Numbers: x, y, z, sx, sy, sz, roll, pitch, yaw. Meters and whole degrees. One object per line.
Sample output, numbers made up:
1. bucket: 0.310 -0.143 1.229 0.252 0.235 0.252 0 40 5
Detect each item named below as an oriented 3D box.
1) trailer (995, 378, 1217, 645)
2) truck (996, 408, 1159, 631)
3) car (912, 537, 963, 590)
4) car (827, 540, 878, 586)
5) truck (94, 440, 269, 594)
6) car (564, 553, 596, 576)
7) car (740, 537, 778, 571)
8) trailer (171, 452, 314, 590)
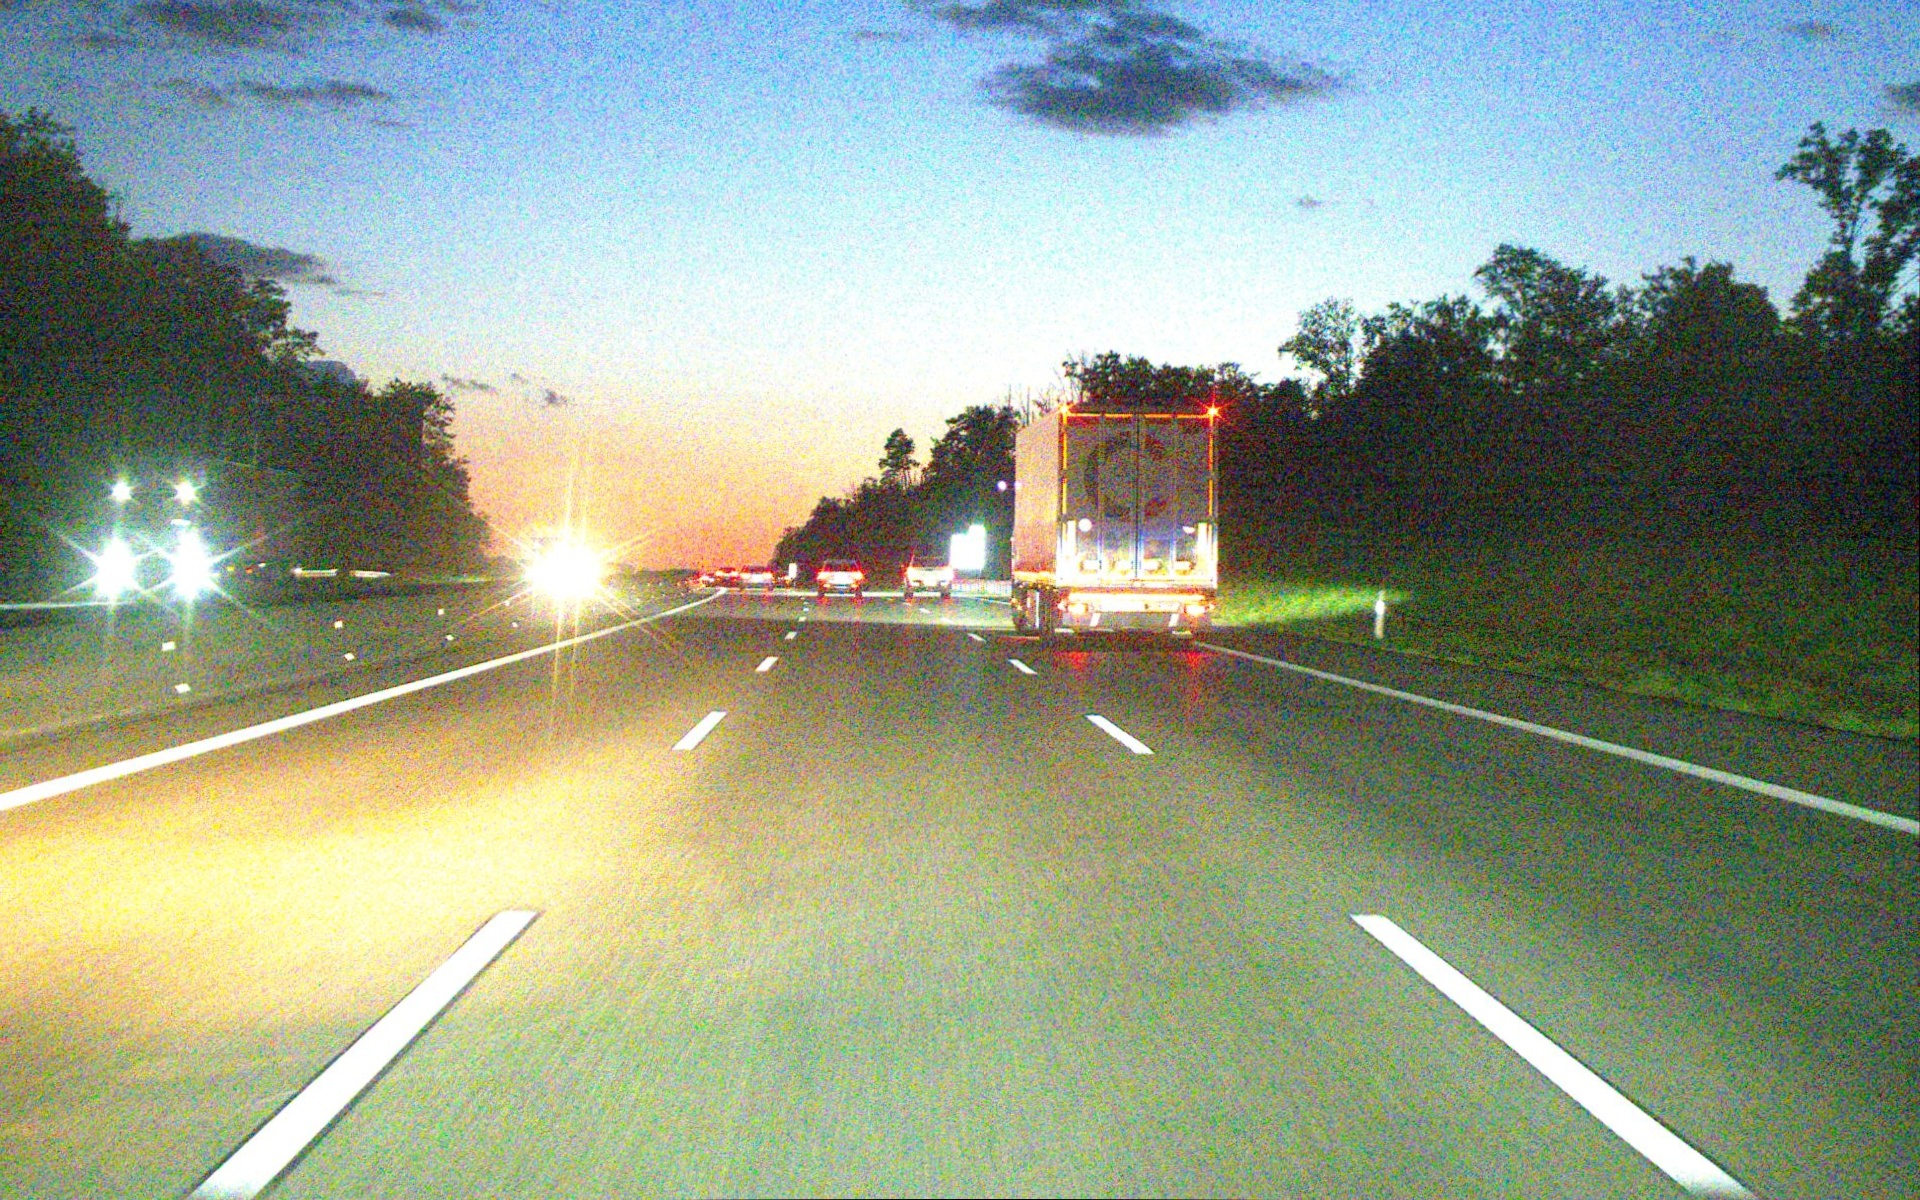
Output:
1. trailer: 2.441 -1.517 63.788 2.829 4.242 17.050 1 1 -2
2. truck: 2.288 -1.579 69.141 2.829 4.242 6.263 1 1 -2
3. car: -0.979 -1.534 146.031 1.993 2.110 4.000 1 -1 -2
4. car: -4.438 -1.513 141.511 1.993 1.788 4.000 1 -1 -3
5. truck: -21.925 -2.289 97.390 2.860 4.057 10.636 1 1 -2
6. car: -27.705 -2.574 251.000 1.993 1.656 4.000 1 1 -2
7. car: -11.205 -2.546 191.459 1.993 1.788 4.000 1 -1 -2
8. trailer: -22.272 -2.415 107.140 2.860 4.057 8.872 1 1 -2
